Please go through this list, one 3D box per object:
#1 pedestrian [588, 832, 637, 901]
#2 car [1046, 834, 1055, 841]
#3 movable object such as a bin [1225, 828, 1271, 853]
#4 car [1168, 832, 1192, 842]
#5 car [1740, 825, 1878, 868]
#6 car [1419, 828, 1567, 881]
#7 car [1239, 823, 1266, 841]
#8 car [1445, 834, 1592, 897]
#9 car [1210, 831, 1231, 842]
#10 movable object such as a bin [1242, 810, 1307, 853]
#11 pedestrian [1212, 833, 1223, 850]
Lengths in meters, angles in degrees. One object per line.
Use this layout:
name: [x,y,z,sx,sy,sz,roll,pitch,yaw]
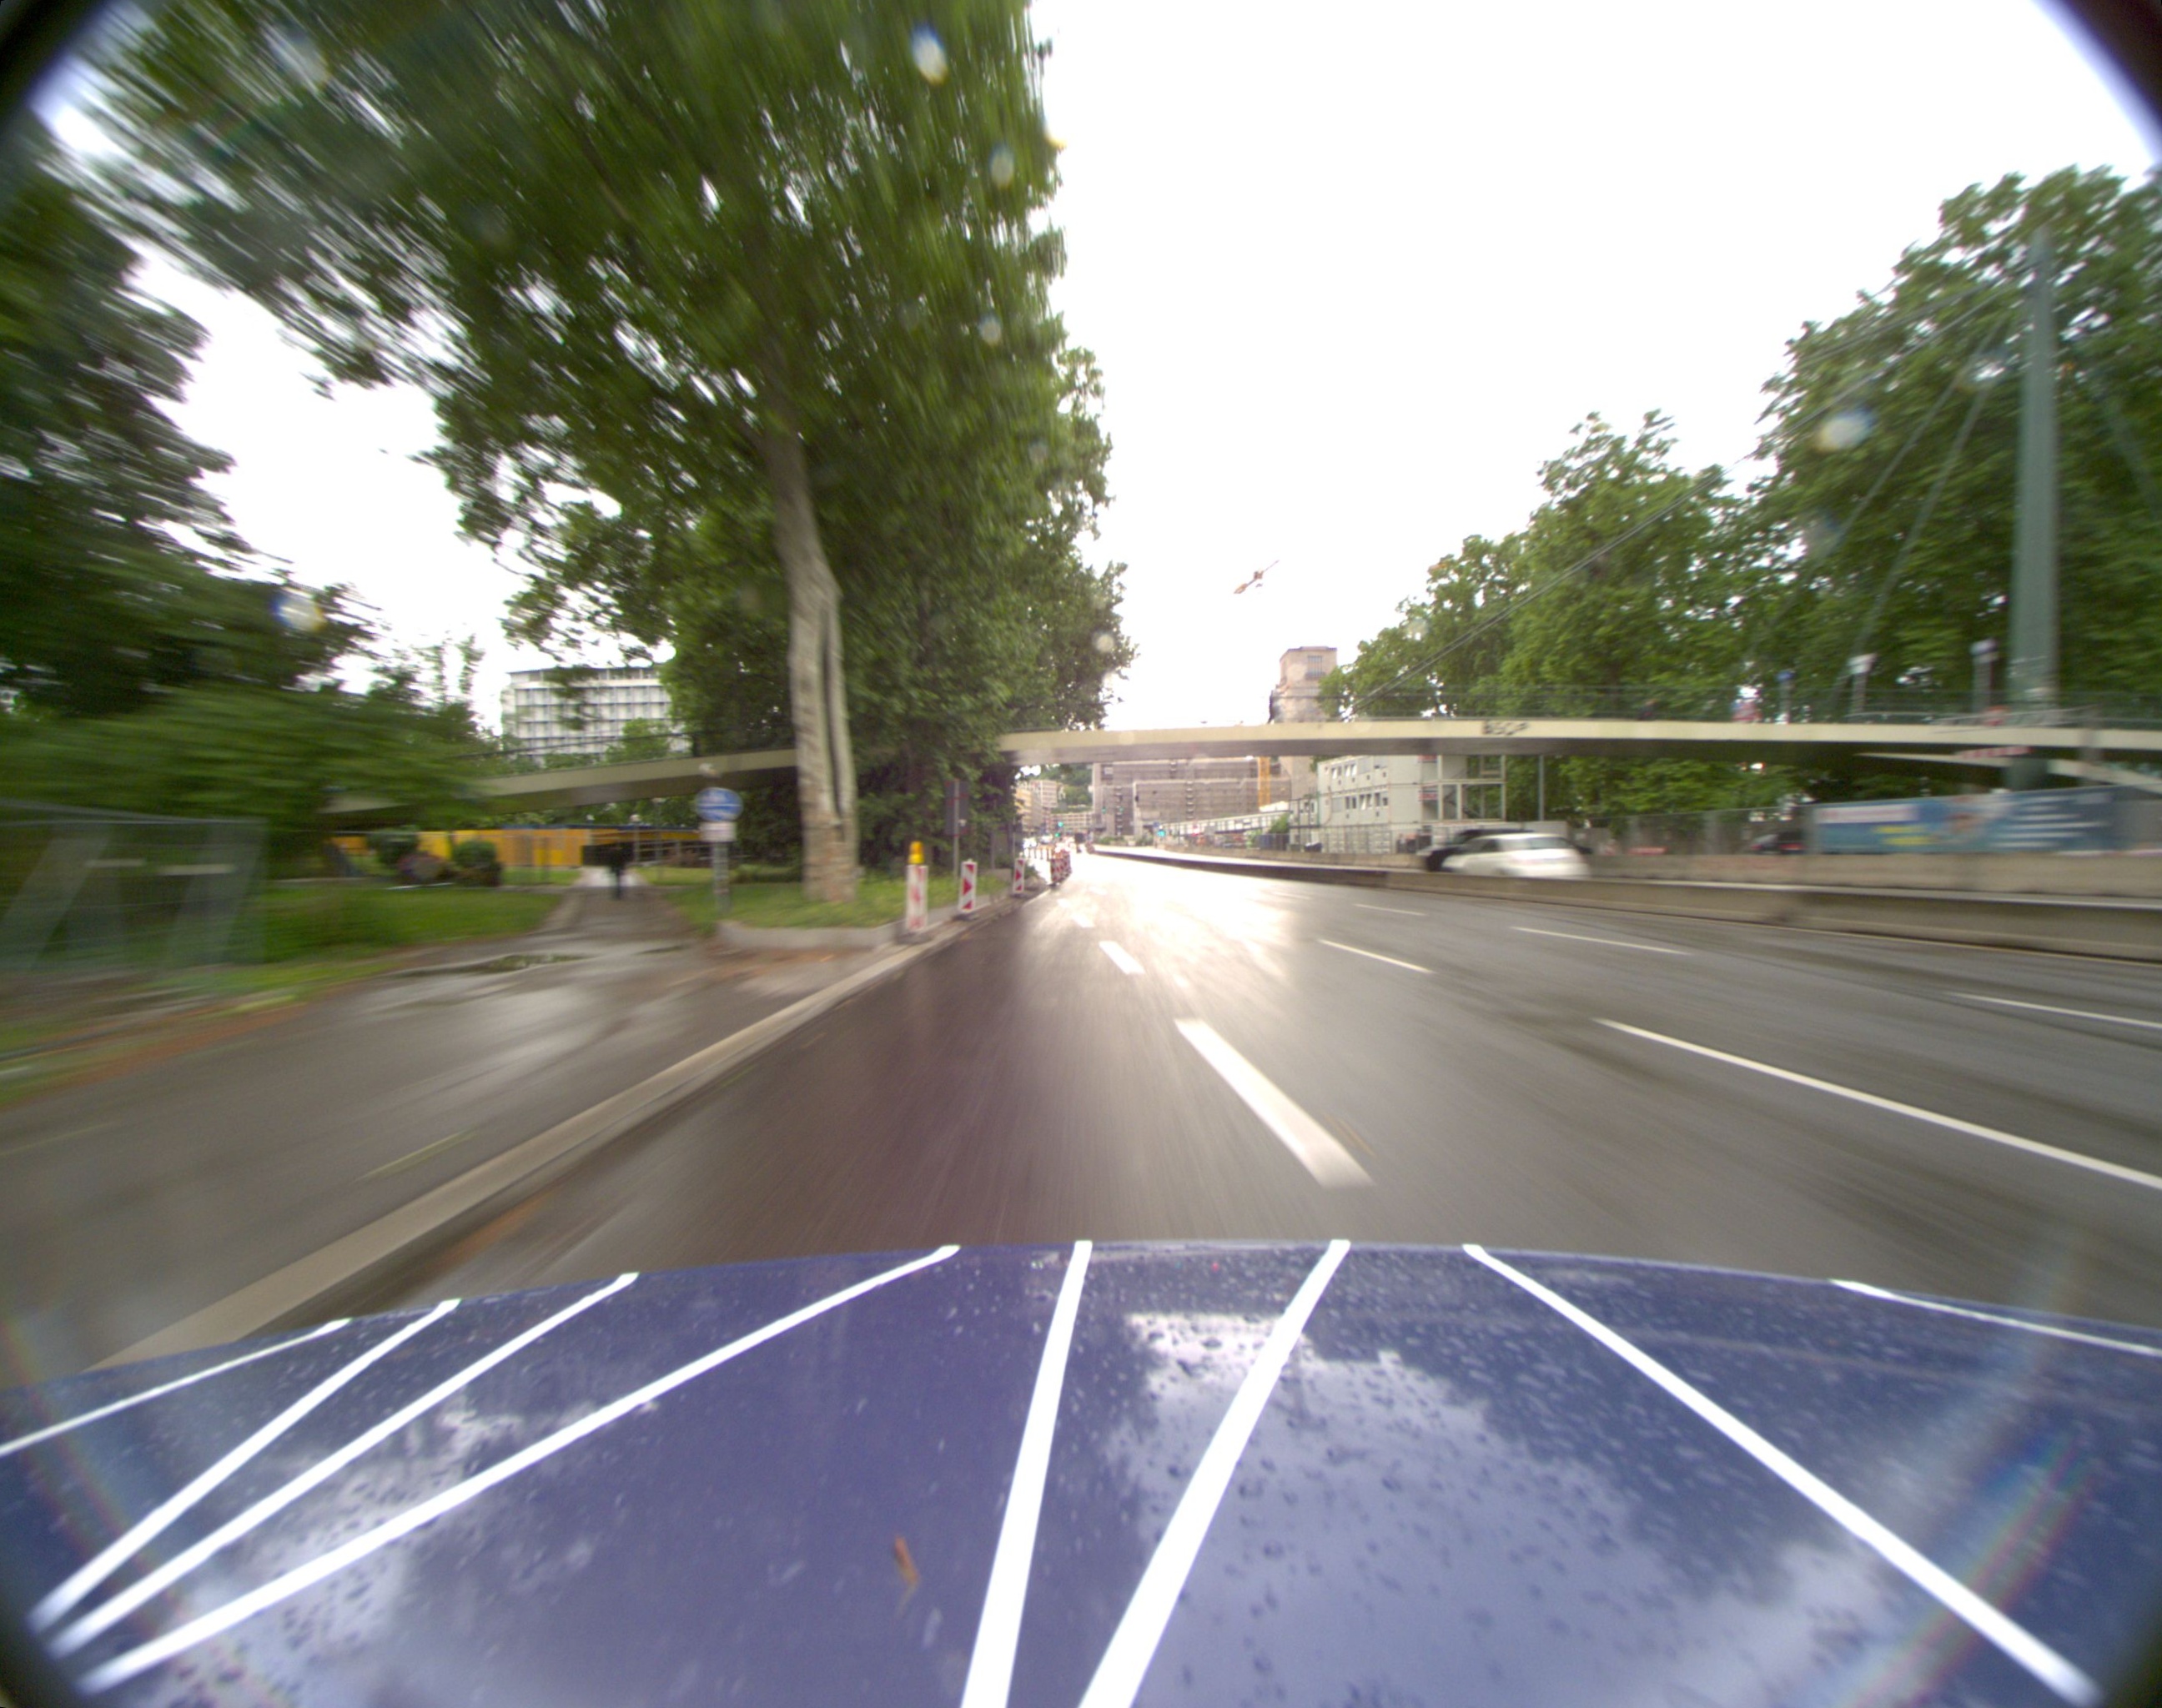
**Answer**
pedestrian: [-14.043,0.367,22.787,1.054,2.002,1.036,-2,1,-40]
car: [-7.731,-4.194,191.065,1.833,1.643,4.569,-1,2,-7]
movable object such as a bin: [21.902,-1.868,99.864,3.944,3.111,6.381,-1,2,-8]
car: [21.717,-3.716,167.017,2.004,2.002,5.011,-2,2,-44]
car: [29.392,-0.315,30.724,4.439,1.618,1.956,-1,2,-14]
car: [13.752,-0.001,25.772,2.088,1.621,4.850,-1,0,-5]
car: [29.250,-3.813,129.912,2.281,3.049,6.162,-1,2,-9]
car: [11.358,0.230,20.010,1.714,1.481,3.448,-1,2,-5]
car: [21.999,-2.797,120.265,1.851,1.752,4.792,-1,2,-8]
movable object such as a bin: [22.973,-2.699,90.875,4.765,4.776,8.350,-1,2,-8]
pedestrian: [17.365,-1.590,96.844,1.182,2.002,1.173,-2,2,3]
